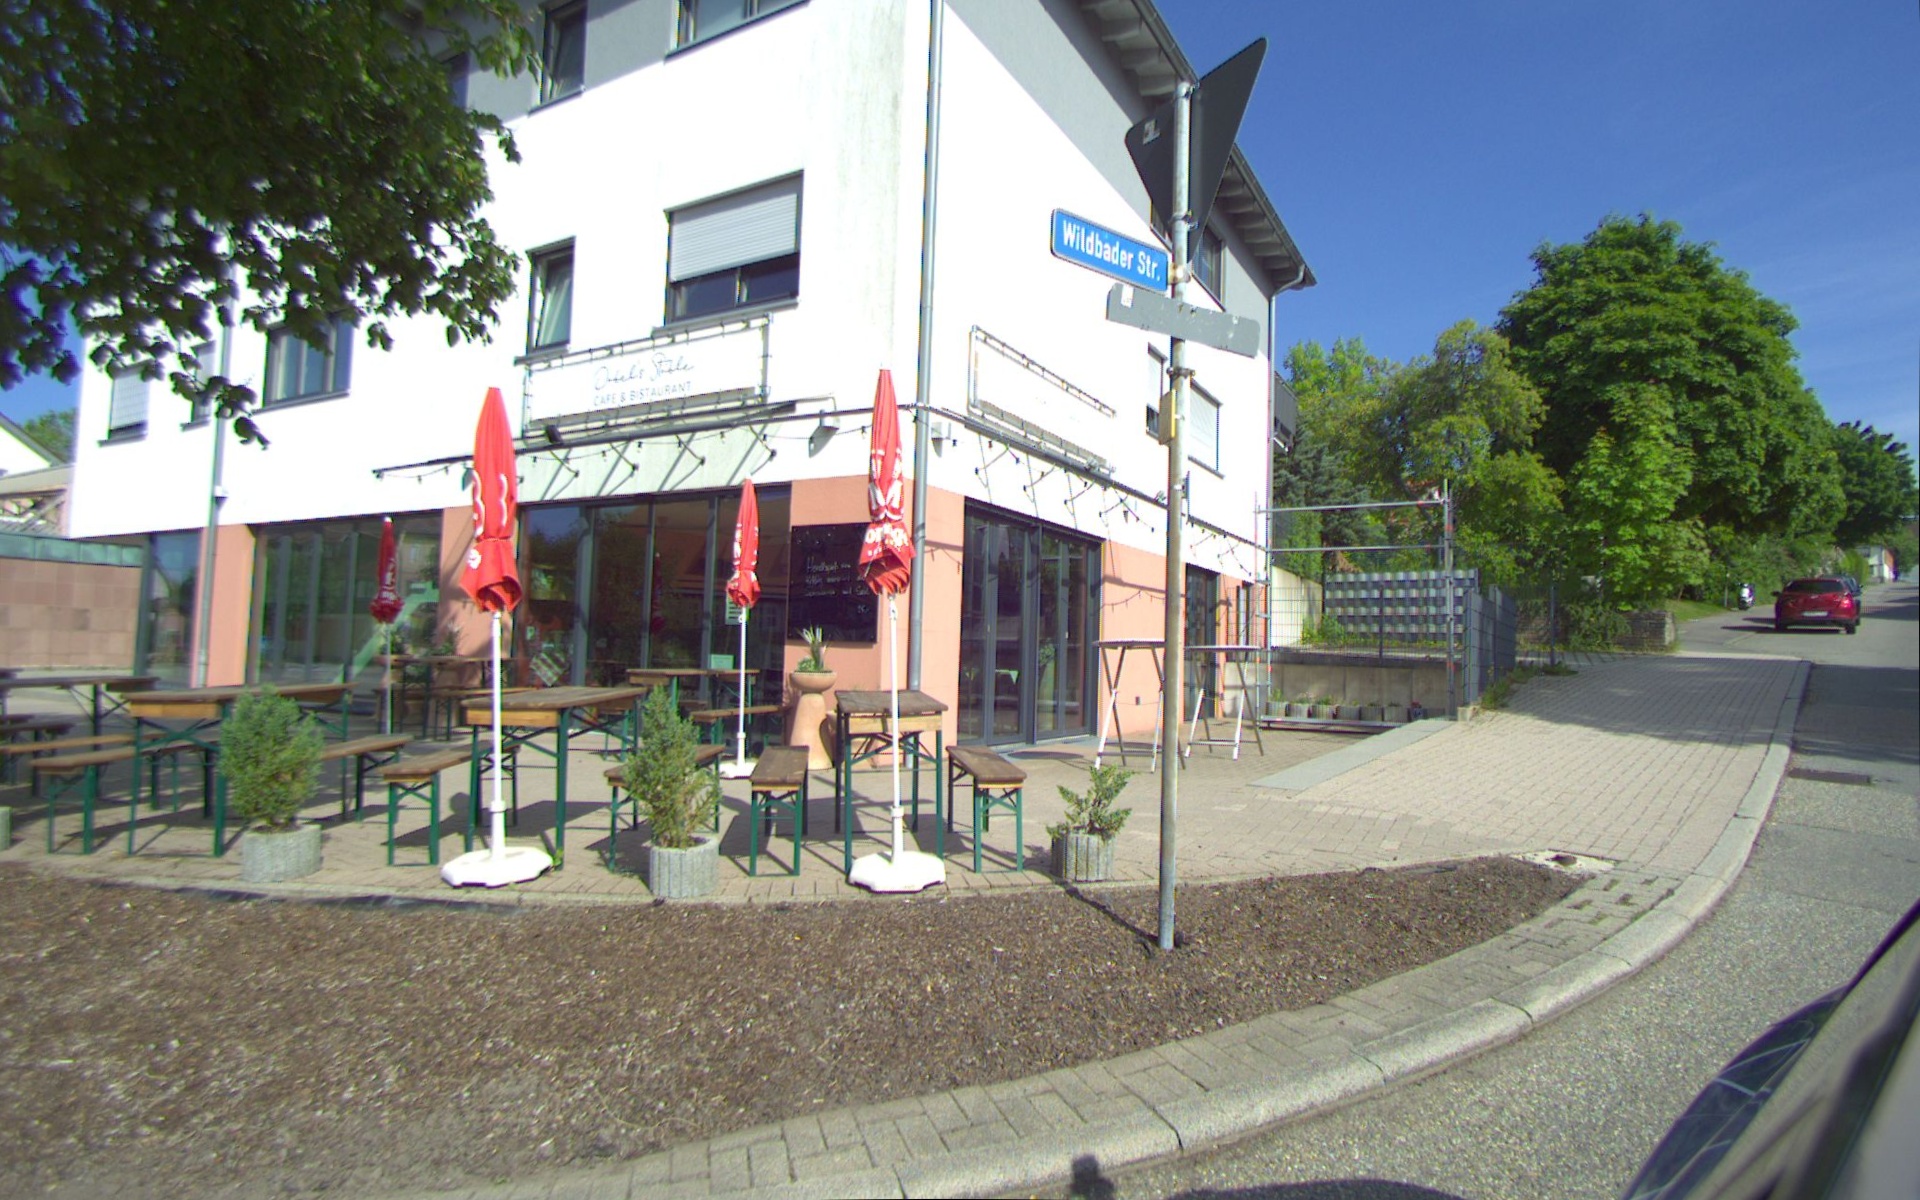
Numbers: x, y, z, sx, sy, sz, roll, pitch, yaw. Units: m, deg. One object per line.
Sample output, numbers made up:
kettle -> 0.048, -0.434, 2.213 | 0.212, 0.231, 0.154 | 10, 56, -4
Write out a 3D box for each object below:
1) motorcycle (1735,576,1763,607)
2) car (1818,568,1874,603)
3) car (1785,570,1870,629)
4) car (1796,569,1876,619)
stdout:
motorcycle -> 31.757, -0.349, 40.717 | 0.782, 1.196, 2.156 | 0, 1, 41
car -> 39.847, -0.668, 45.506 | 1.770, 1.489, 3.752 | 0, 1, 43
car -> 23.913, -0.055, 27.868 | 1.619, 1.517, 3.752 | 0, 1, 43
car -> 27.664, -0.213, 31.920 | 1.770, 1.489, 3.752 | 0, 1, 43
